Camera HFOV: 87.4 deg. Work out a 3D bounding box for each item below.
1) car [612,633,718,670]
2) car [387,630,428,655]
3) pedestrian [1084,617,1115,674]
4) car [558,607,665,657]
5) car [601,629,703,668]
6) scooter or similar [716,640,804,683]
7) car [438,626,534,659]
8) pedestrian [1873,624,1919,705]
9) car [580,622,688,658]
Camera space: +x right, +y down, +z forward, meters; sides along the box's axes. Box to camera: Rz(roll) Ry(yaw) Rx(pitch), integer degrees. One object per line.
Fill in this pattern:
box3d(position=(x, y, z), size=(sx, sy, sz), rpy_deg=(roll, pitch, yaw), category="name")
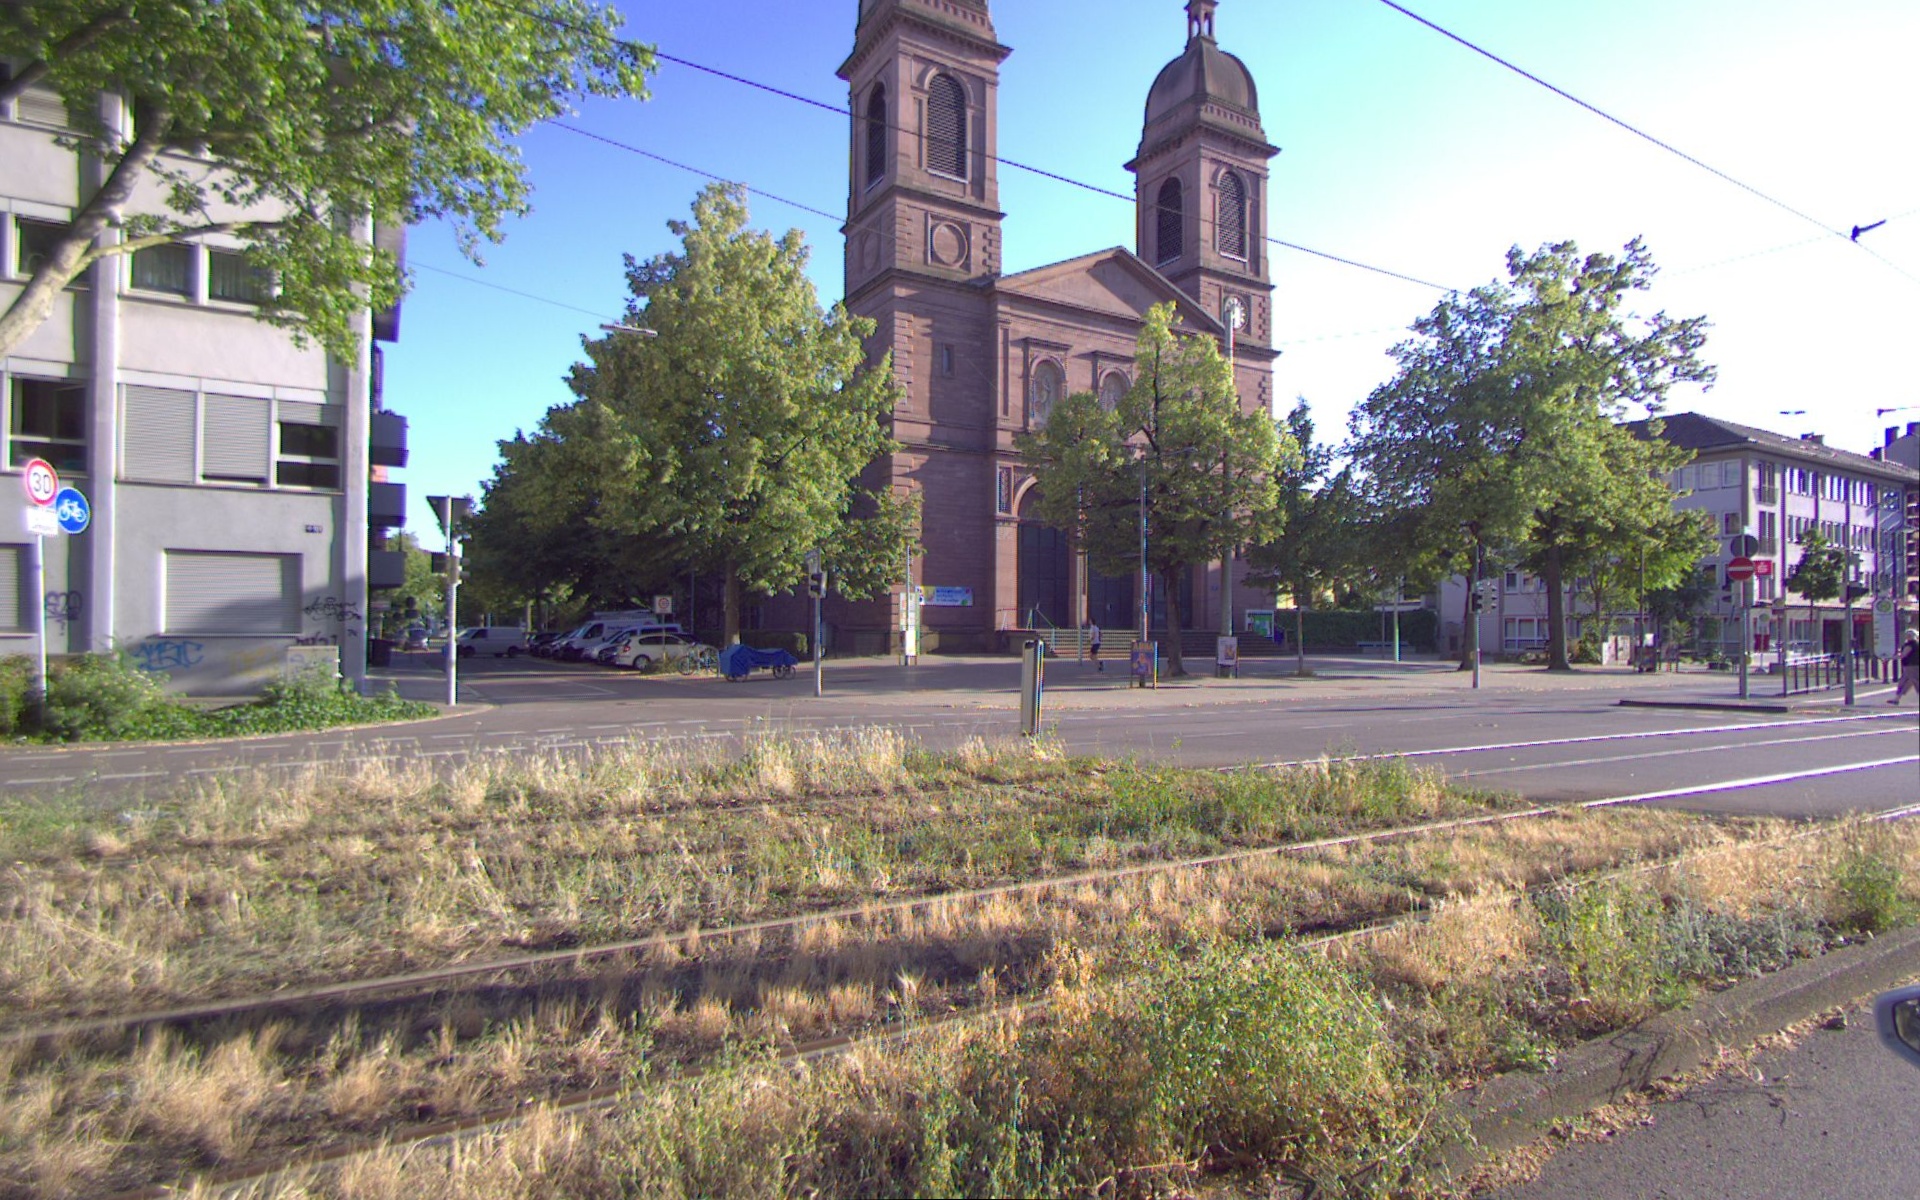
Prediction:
box3d(position=(-12.240, 2.102, 41.718), size=(3.953, 1.416, 1.802), rpy_deg=(0, -1, -30), category="car")
box3d(position=(-47.011, 3.576, 85.411), size=(1.985, 2.040, 5.360), rpy_deg=(2, -2, -41), category="car")
box3d(position=(4.467, 1.444, 32.195), size=(0.684, 1.789, 0.733), rpy_deg=(1, -1, -31), category="pedestrian")
box3d(position=(-18.378, 1.698, 53.038), size=(5.054, 2.551, 1.984), rpy_deg=(1, -2, -30), category="car")
box3d(position=(-13.472, 2.112, 43.968), size=(3.953, 1.639, 1.876), rpy_deg=(1, -2, -30), category="car")
box3d(position=(-6.104, 1.858, 30.713), size=(2.419, 1.141, 1.088), rpy_deg=(-1, 0, -30), category="scooter or similar")
box3d(position=(-30.524, 2.711, 64.898), size=(1.966, 2.040, 5.412), rpy_deg=(-1, -2, 32), category="car")
box3d(position=(21.511, 1.457, 22.831), size=(0.822, 1.783, 0.915), rpy_deg=(2, -2, -29), category="pedestrian")
box3d(position=(-15.628, 1.916, 48.233), size=(4.655, 1.684, 1.984), rpy_deg=(1, -2, -30), category="car")
